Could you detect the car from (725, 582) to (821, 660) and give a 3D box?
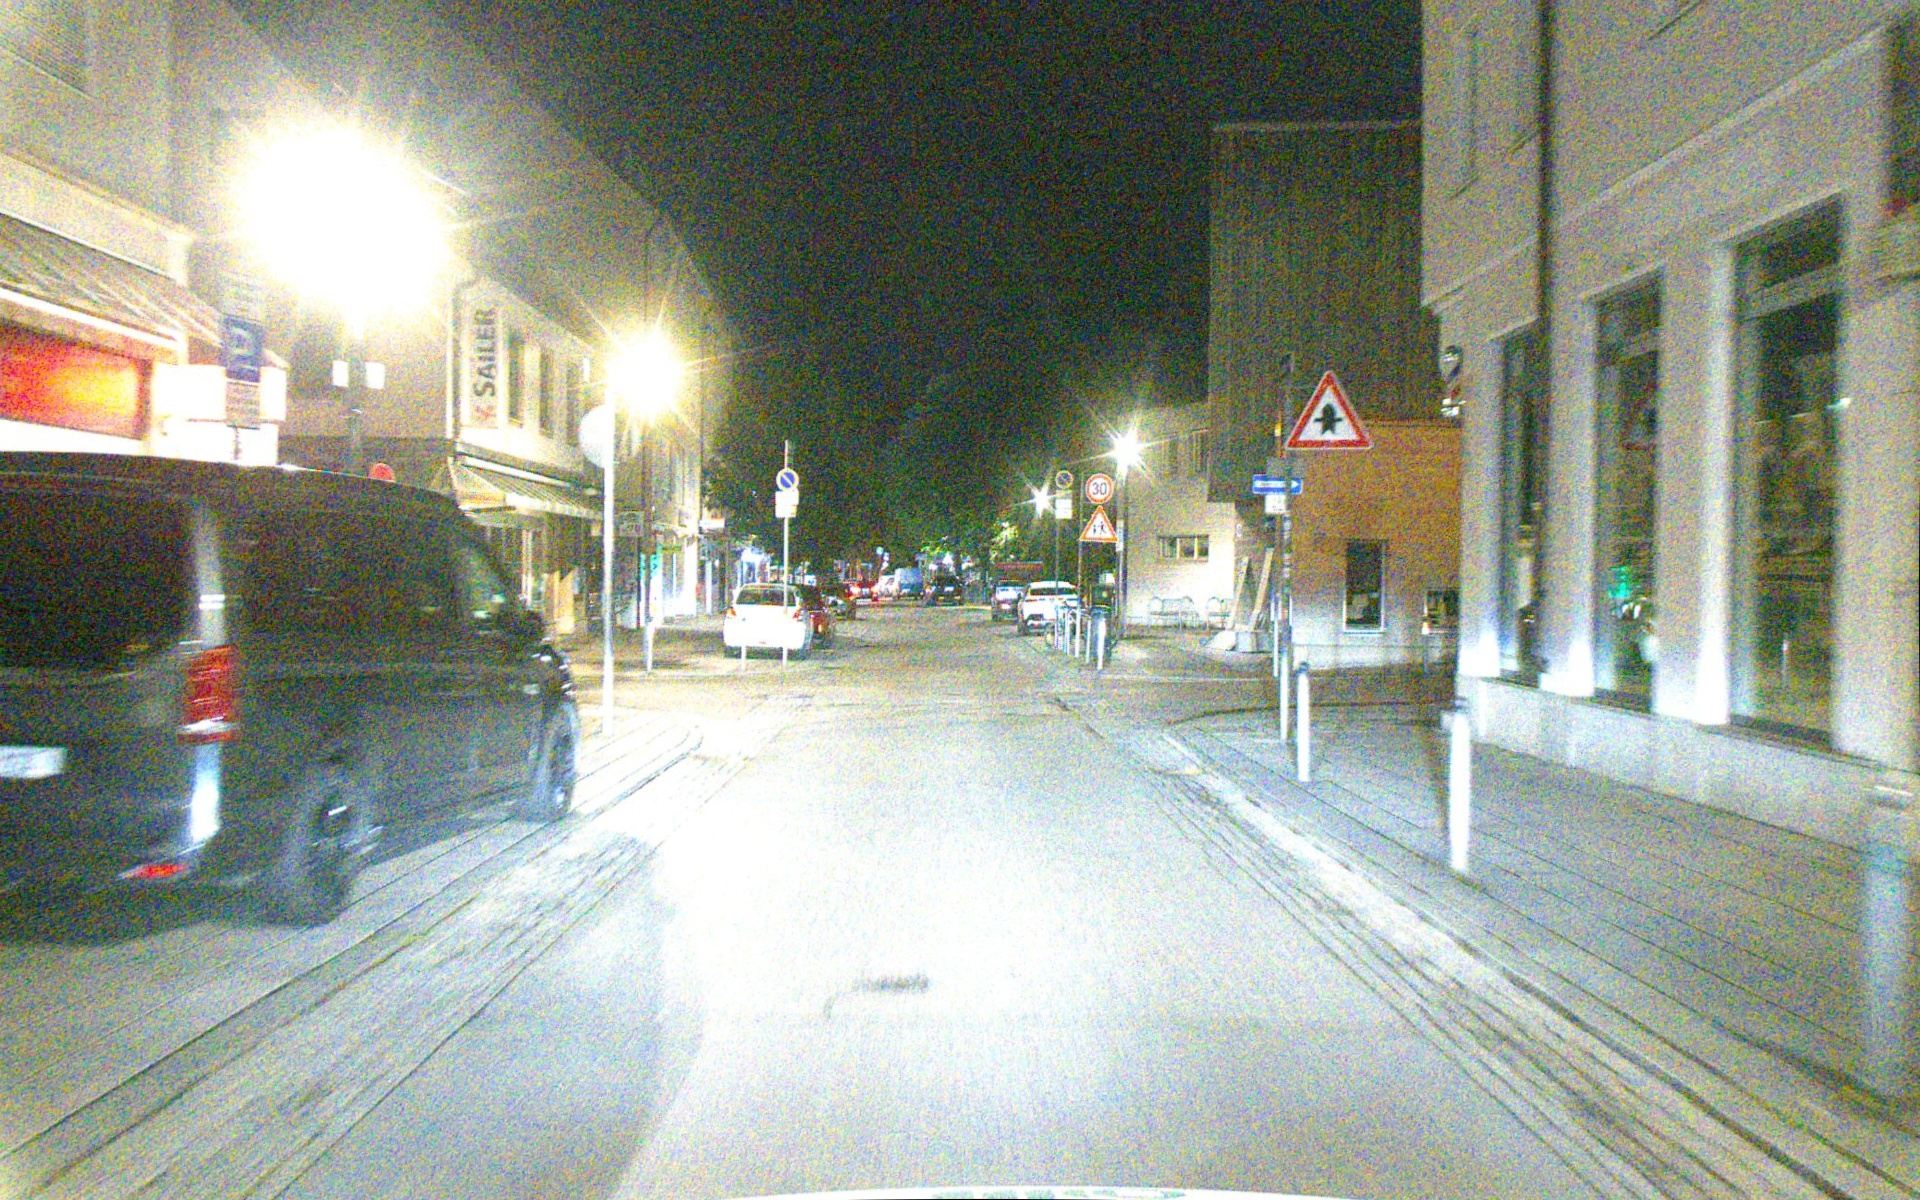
[{"bbox_3d":[-3.882,0.400,34.914,1.694,1.502,3.845,1,1,-2],"label":"car"}]

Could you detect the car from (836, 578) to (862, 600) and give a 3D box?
[{"bbox_3d":[-9.013,-0.923,134.219,1.955,1.732,3.995,0,1,-6],"label":"car"}]

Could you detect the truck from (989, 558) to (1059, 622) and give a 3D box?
[{"bbox_3d":[2.423,-0.425,64.098,2.289,2.352,5.779,0,1,-2],"label":"truck"}]

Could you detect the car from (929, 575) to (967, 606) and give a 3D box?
[{"bbox_3d":[-0.739,-0.593,99.395,1.780,1.860,4.340,0,1,-7],"label":"car"}]

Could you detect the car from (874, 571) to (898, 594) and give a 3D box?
[{"bbox_3d":[-6.470,-1.533,144.086,1.804,1.934,3.840,0,1,-6],"label":"car"}]

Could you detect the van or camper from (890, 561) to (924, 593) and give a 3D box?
[{"bbox_3d":[-4.029,-1.746,125.587,2.069,2.357,4.255,-1,1,-8],"label":"van or camper"}]

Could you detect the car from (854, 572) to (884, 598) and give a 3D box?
[{"bbox_3d":[-6.645,-1.125,120.067,1.955,1.855,3.995,0,1,-6],"label":"car"}]

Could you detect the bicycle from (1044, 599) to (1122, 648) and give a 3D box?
[{"bbox_3d":[2.769,0.526,37.234,1.719,1.080,0.346,0,0,-4],"label":"bicycle"}]

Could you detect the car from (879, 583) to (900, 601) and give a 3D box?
[{"bbox_3d":[-5.907,-0.654,138.245,1.502,1.443,3.840,0,1,-6],"label":"car"}]

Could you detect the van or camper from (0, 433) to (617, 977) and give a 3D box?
[{"bbox_3d":[-3.425,0.349,8.677,1.807,1.976,5.156,1,1,4],"label":"van or camper"}]

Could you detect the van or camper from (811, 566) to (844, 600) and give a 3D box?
[{"bbox_3d":[-8.519,-1.084,106.099,1.831,2.046,4.255,2,1,-8],"label":"van or camper"}]

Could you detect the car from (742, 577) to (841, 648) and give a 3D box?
[{"bbox_3d":[-4.028,0.263,40.243,1.979,1.514,5.006,3,1,-2],"label":"car"}]

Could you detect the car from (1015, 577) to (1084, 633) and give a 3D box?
[{"bbox_3d":[2.592,0.113,48.662,1.753,1.517,4.059,-1,1,0],"label":"car"}]

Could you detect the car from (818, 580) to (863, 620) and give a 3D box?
[{"bbox_3d":[-4.953,-0.022,68.367,1.642,1.570,4.224,1,1,-7],"label":"car"}]
